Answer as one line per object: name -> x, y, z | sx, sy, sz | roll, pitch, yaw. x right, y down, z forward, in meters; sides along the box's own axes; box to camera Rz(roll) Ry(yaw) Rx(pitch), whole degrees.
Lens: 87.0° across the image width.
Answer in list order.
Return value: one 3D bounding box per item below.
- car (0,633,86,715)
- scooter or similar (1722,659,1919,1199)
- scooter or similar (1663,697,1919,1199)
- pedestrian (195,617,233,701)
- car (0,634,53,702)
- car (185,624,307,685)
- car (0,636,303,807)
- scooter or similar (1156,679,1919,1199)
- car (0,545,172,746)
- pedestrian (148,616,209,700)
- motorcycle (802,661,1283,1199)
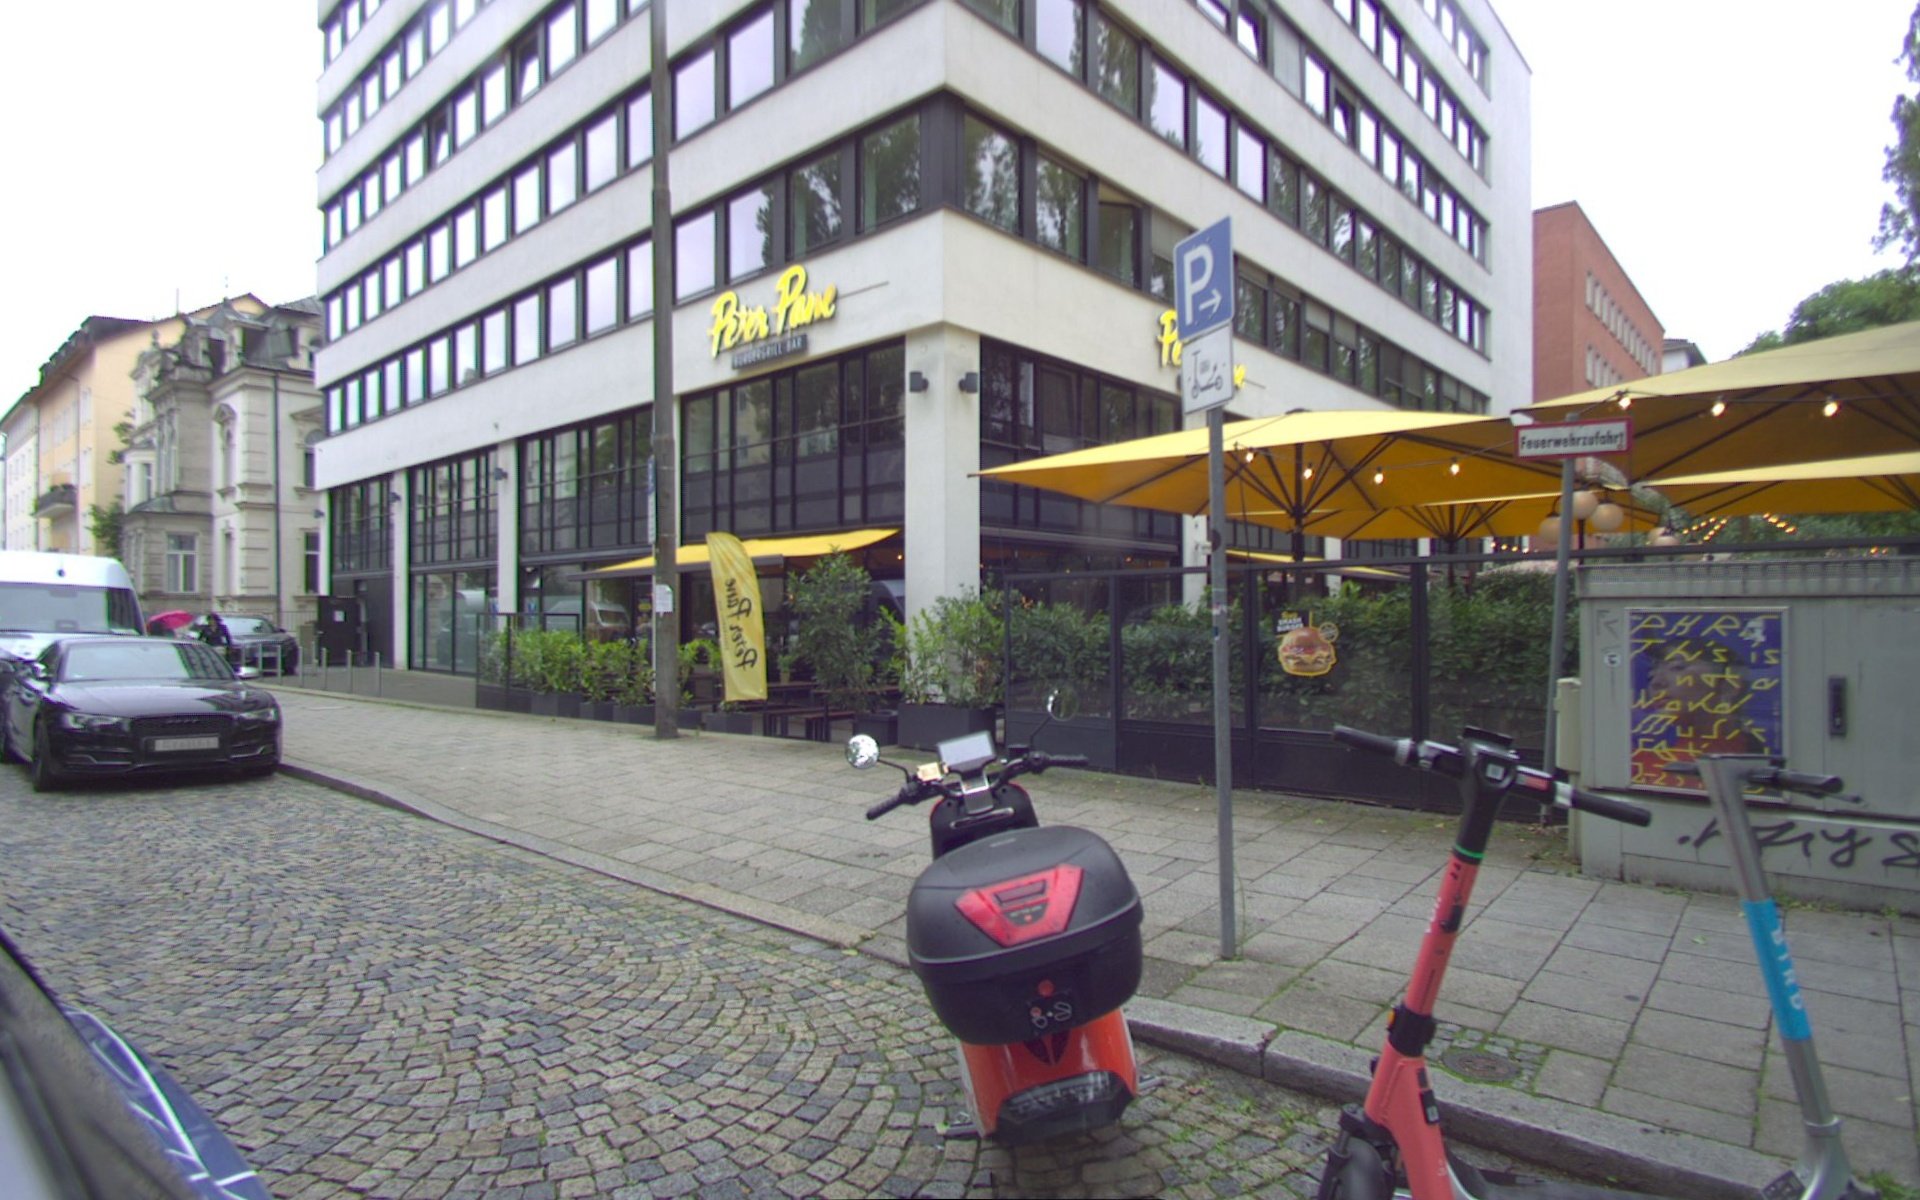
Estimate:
car -> -18.223, 1.350, 19.302 | 4.001, 1.441, 1.971 | -2, -2, 44
scooter or similar -> 1.729, 0.760, 1.574 | 0.324, 1.282, 1.247 | -1, -1, 11
scooter or similar -> 2.172, 0.803, 1.972 | 1.237, 1.189, 0.389 | -1, -1, 10
pedestrian -> -15.969, 1.253, 21.664 | 0.567, 1.761, 0.651 | 1, -2, -43
car -> -21.673, 1.463, 22.338 | 3.998, 1.399, 1.973 | -2, -2, 41
car -> -19.760, 1.446, 27.957 | 4.168, 1.544, 1.887 | -2, -2, 42
car -> -8.460, 1.054, 10.311 | 4.115, 1.340, 1.972 | -2, -2, 42
scooter or similar -> 1.013, 0.830, 1.946 | 0.322, 1.282, 1.360 | 0, -2, -38
car -> -13.743, 0.633, 15.074 | 5.845, 2.510, 2.038 | -1, -2, 41
pedestrian -> -16.538, 1.204, 21.412 | 0.800, 1.719, 0.916 | -2, -2, 44
motorcycle -> 0.099, 0.805, 2.602 | 0.760, 1.205, 1.992 | 0, -1, -2
